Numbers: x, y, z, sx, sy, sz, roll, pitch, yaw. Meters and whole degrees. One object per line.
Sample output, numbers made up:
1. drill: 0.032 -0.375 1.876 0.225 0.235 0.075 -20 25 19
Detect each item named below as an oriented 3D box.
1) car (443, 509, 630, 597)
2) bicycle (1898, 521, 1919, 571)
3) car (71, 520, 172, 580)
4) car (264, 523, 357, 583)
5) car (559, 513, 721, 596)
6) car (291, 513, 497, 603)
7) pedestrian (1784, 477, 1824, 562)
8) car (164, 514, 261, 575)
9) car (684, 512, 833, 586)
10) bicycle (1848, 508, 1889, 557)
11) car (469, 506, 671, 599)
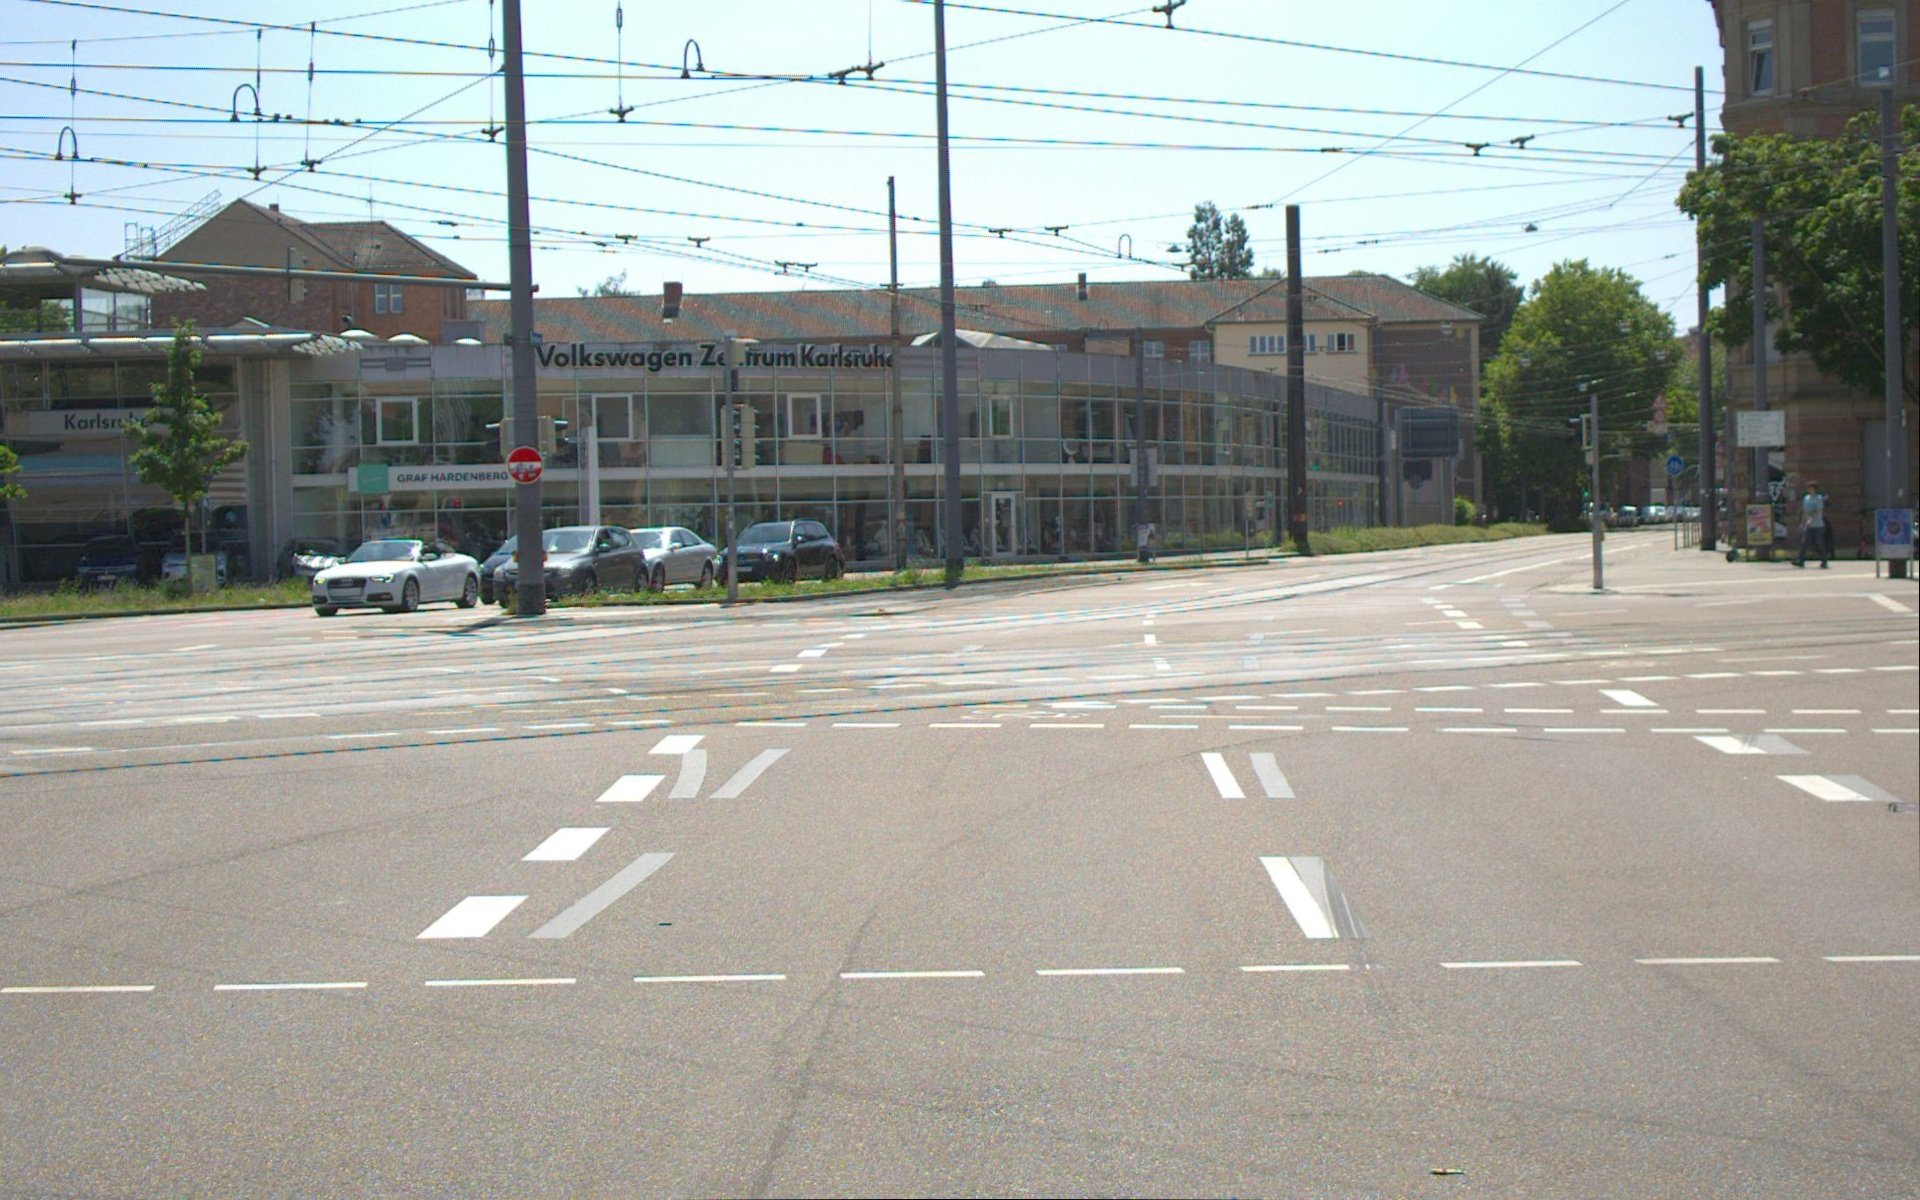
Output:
1. car: -8.608 -0.981 70.319 1.995 1.694 4.843 -1 1 17
2. bicycle: 22.064 -1.234 79.360 0.442 1.142 2.093 1 0 6
3. car: -24.376 -1.440 100.035 1.920 1.701 4.000 1 0 0
4. car: -18.951 -1.369 100.473 1.920 1.701 4.000 1 0 0
5. car: -7.051 -1.035 76.263 1.995 1.733 4.540 -1 1 17
6. car: -10.506 -0.811 64.181 2.078 1.574 4.844 -1 1 13
7. pedestrian: 16.966 -1.621 69.113 0.461 1.702 0.640 -2 1 -25
8. car: -21.729 -1.600 100.045 1.920 1.701 4.000 1 0 0
9. car: -4.886 -1.267 83.966 2.080 1.677 4.843 -1 1 17
10. bicycle: 20.846 -1.554 78.875 0.551 1.116 1.820 -1 1 3
11. car: -7.257 -0.912 64.491 1.995 1.631 4.843 -1 1 17
